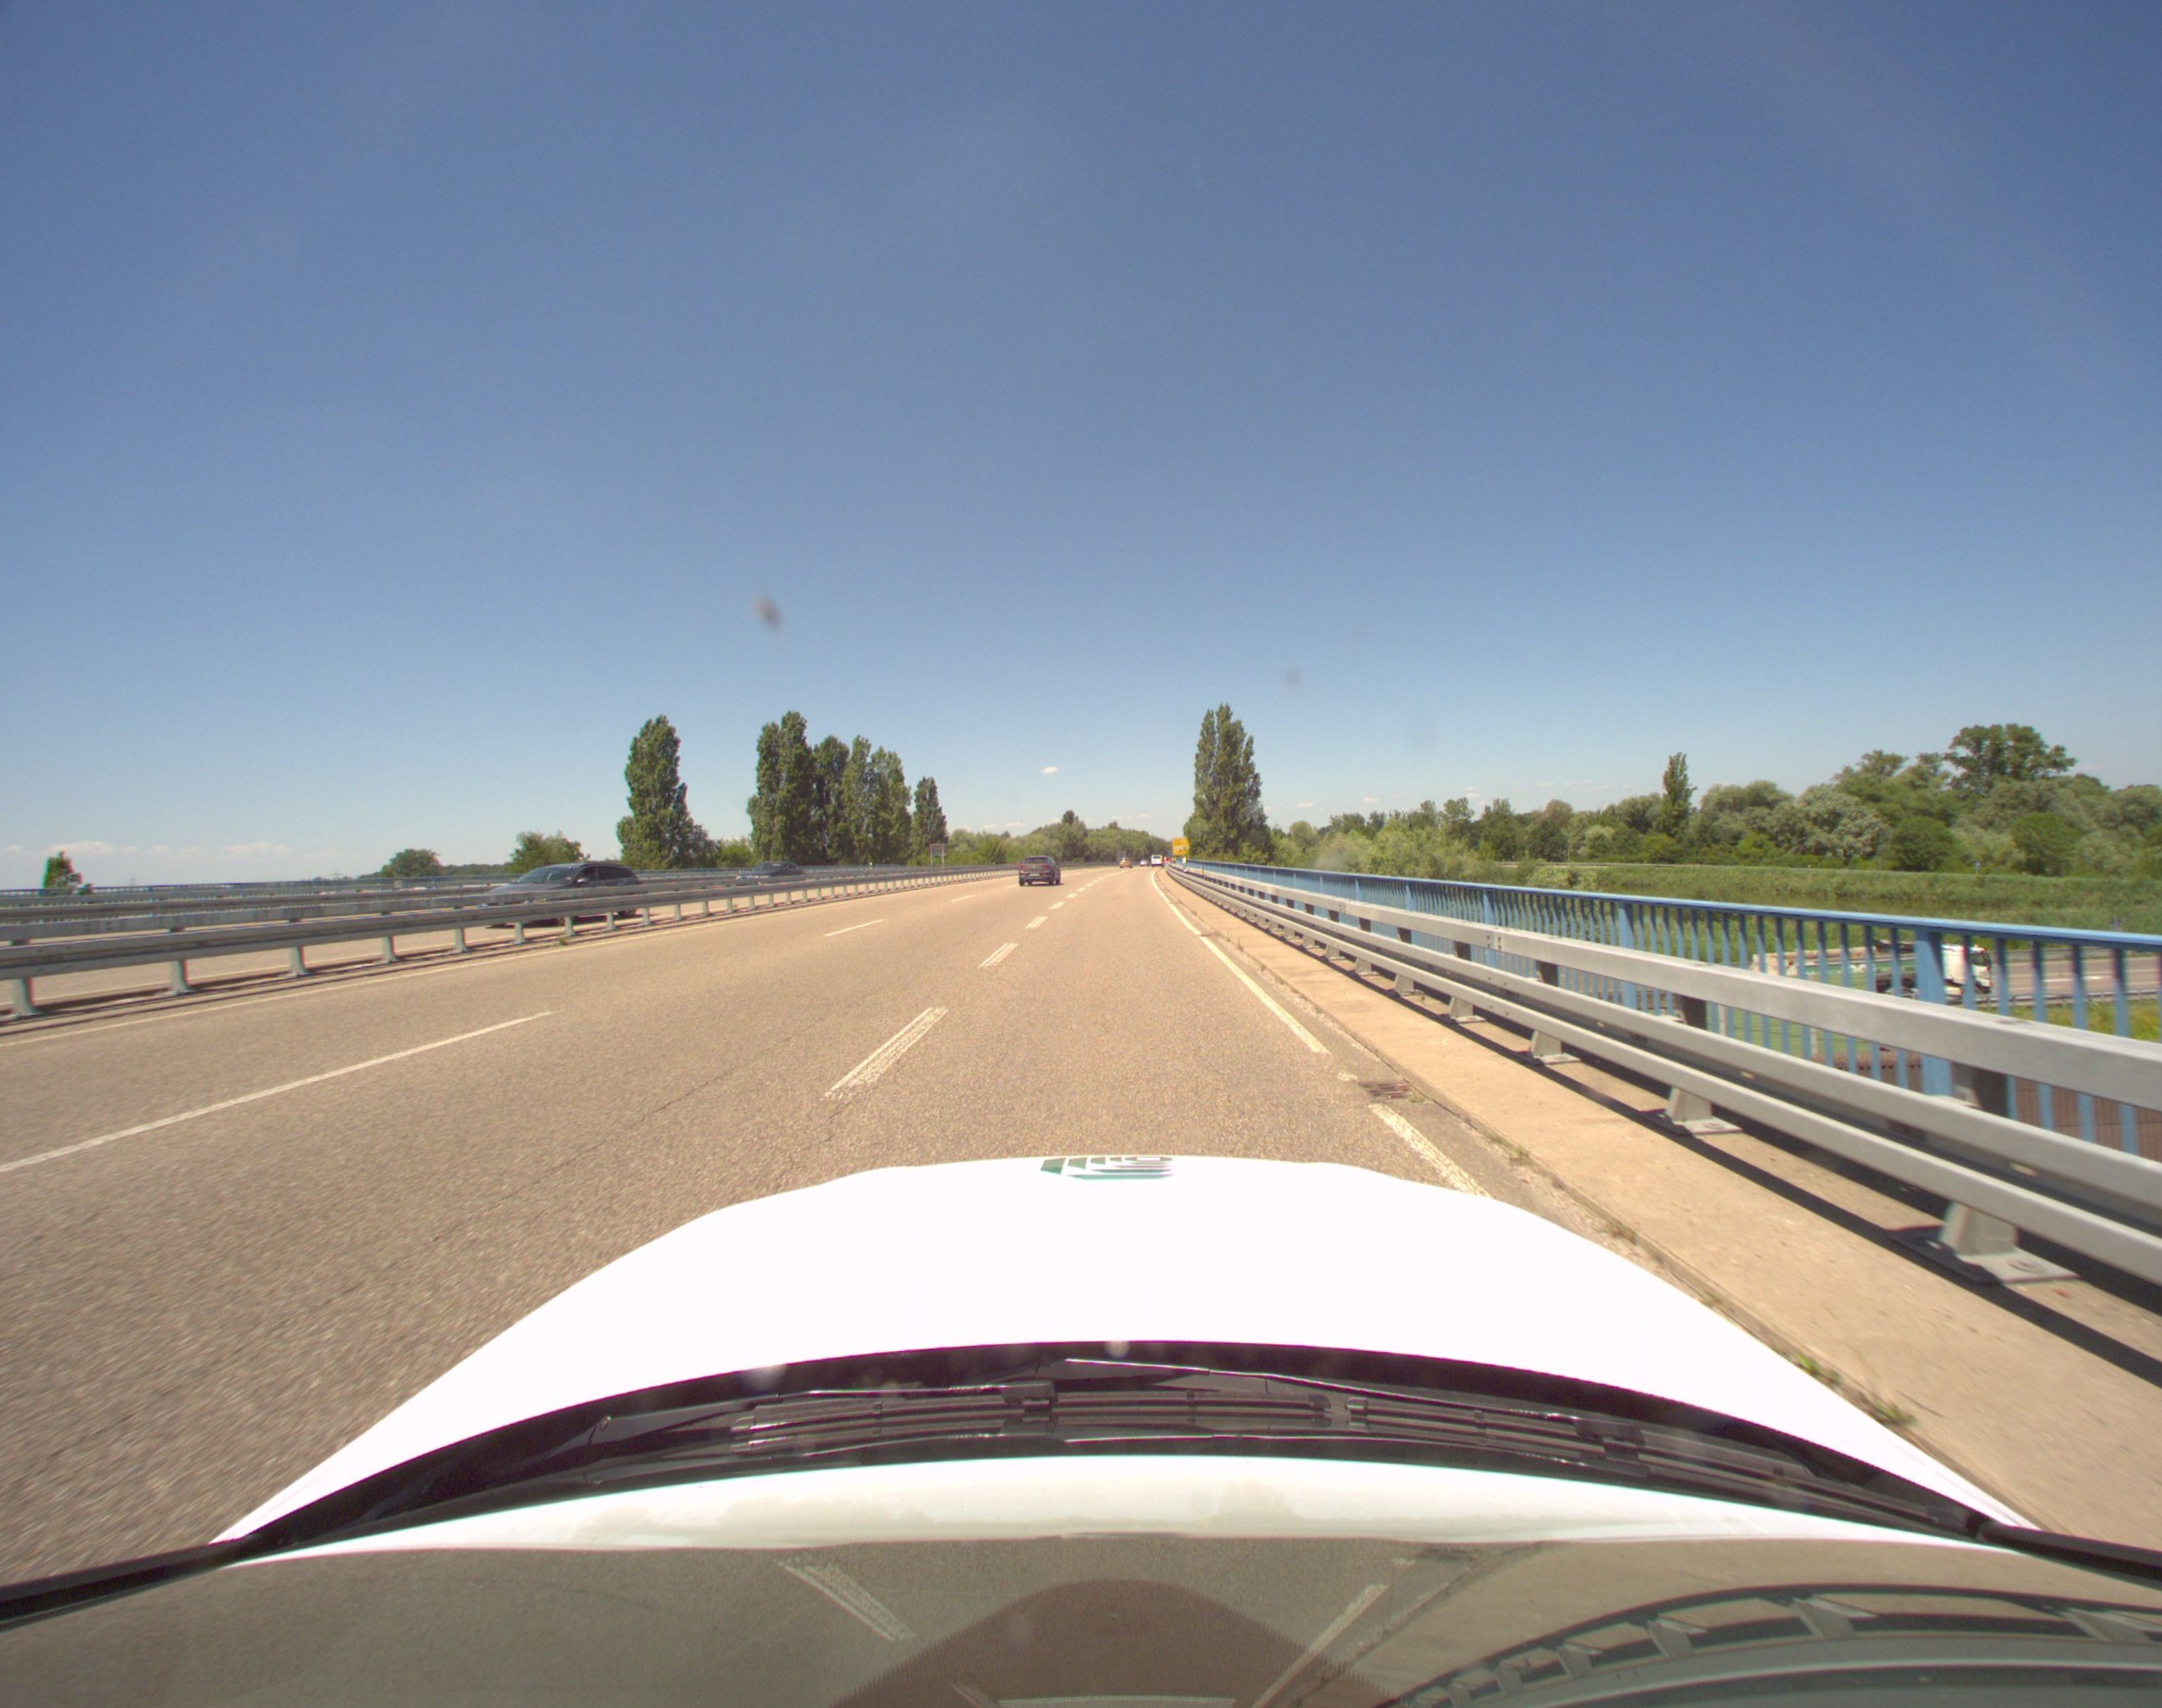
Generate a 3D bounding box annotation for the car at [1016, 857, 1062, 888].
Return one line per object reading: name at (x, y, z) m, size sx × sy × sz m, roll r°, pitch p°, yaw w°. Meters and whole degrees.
car at (-2.146, 0.948, 43.116) m, size 1.833 × 1.530 × 4.475 m, roll -1°, pitch 0°, yaw 4°

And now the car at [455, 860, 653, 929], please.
car at (-13.352, 0.955, 21.059) m, size 1.897 × 1.505 × 4.686 m, roll -1°, pitch 0°, yaw 2°

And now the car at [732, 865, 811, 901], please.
car at (-15.663, 1.430, 41.485) m, size 1.836 × 1.668 × 5.053 m, roll -2°, pitch -1°, yaw 3°

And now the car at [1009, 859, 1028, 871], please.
car at (-8.841, 1.575, 115.160) m, size 1.835 × 1.668 × 5.056 m, roll -2°, pitch -1°, yaw 4°

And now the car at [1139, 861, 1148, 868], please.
car at (14.196, 2.437, 184.849) m, size 1.831 × 1.451 × 4.009 m, roll -1°, pitch 0°, yaw 8°

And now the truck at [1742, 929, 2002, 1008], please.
truck at (44.752, 6.433, 46.299) m, size 11.860 × 3.424 × 2.876 m, roll -3°, pitch 1°, yaw 0°

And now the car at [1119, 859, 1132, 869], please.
car at (6.616, 1.440, 120.400) m, size 1.833 × 1.464 × 4.004 m, roll -1°, pitch 0°, yaw 3°

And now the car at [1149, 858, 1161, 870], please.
car at (12.358, 1.616, 135.717) m, size 1.832 × 1.895 × 4.006 m, roll -1°, pitch 0°, yaw 6°
